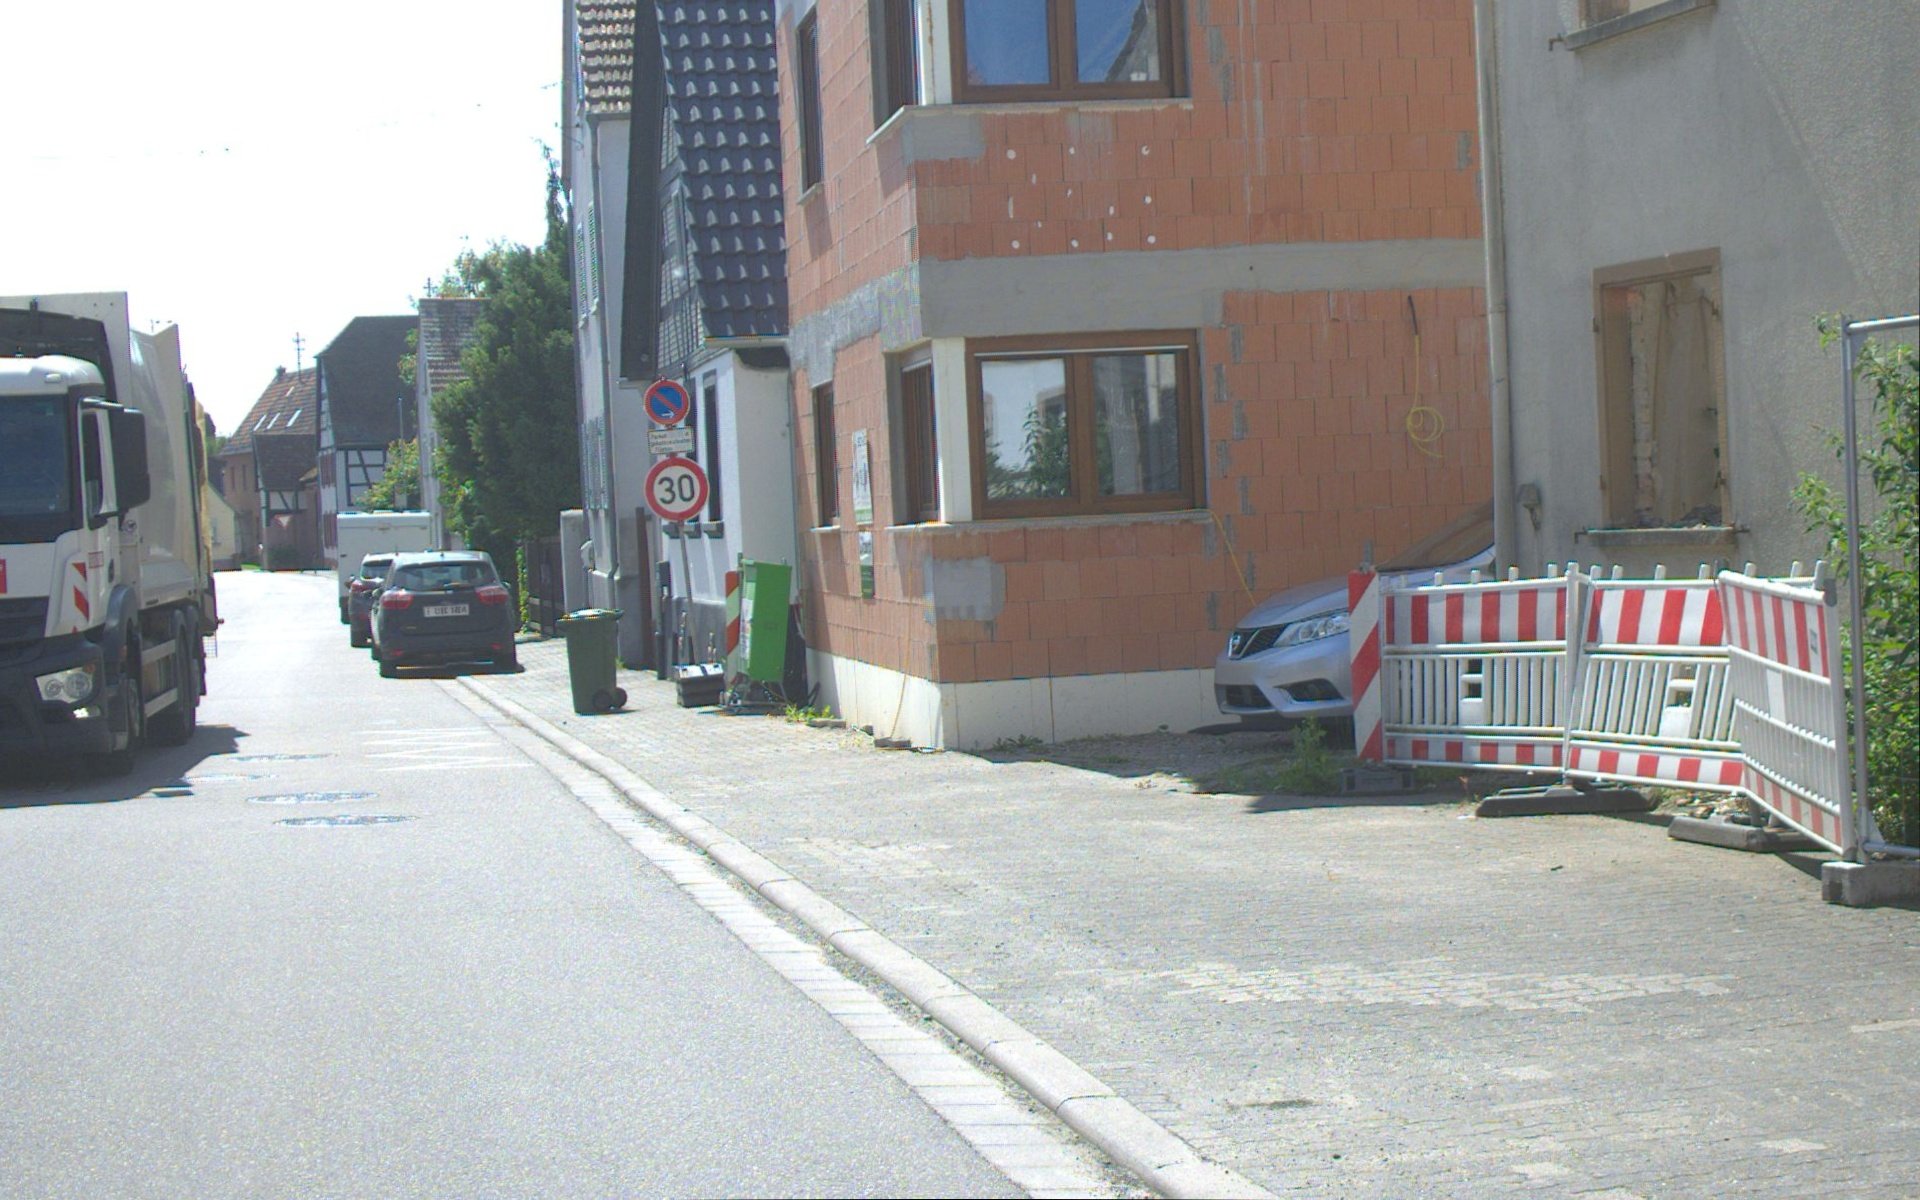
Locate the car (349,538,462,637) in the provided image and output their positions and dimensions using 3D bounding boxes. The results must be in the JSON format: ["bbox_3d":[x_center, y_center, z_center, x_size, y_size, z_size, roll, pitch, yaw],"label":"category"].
[{"bbox_3d":[-10.091,-0.259,62.797,1.793,1.625,4.362,-3,2,-7],"label":"car"}]

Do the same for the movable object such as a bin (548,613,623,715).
[{"bbox_3d":[-3.490,0.594,32.041,0.538,0.910,0.551,-3,1,7],"label":"movable object such as a bin"}]

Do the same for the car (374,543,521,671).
[{"bbox_3d":[-7.008,0.067,46.738,1.797,1.555,4.632,-3,1,-10],"label":"car"}]

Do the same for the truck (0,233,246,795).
[{"bbox_3d":[-7.843,-0.603,28.406,2.695,3.737,10.872,-4,1,-7],"label":"truck"}]

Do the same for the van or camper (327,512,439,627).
[{"bbox_3d":[-14.558,-0.769,86.583,2.521,2.687,4.556,-3,1,-11],"label":"van or camper"}]

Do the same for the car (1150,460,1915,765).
[{"bbox_3d":[3.433,0.044,20.841,4.087,1.502,1.871,-4,1,-15],"label":"car"}]
